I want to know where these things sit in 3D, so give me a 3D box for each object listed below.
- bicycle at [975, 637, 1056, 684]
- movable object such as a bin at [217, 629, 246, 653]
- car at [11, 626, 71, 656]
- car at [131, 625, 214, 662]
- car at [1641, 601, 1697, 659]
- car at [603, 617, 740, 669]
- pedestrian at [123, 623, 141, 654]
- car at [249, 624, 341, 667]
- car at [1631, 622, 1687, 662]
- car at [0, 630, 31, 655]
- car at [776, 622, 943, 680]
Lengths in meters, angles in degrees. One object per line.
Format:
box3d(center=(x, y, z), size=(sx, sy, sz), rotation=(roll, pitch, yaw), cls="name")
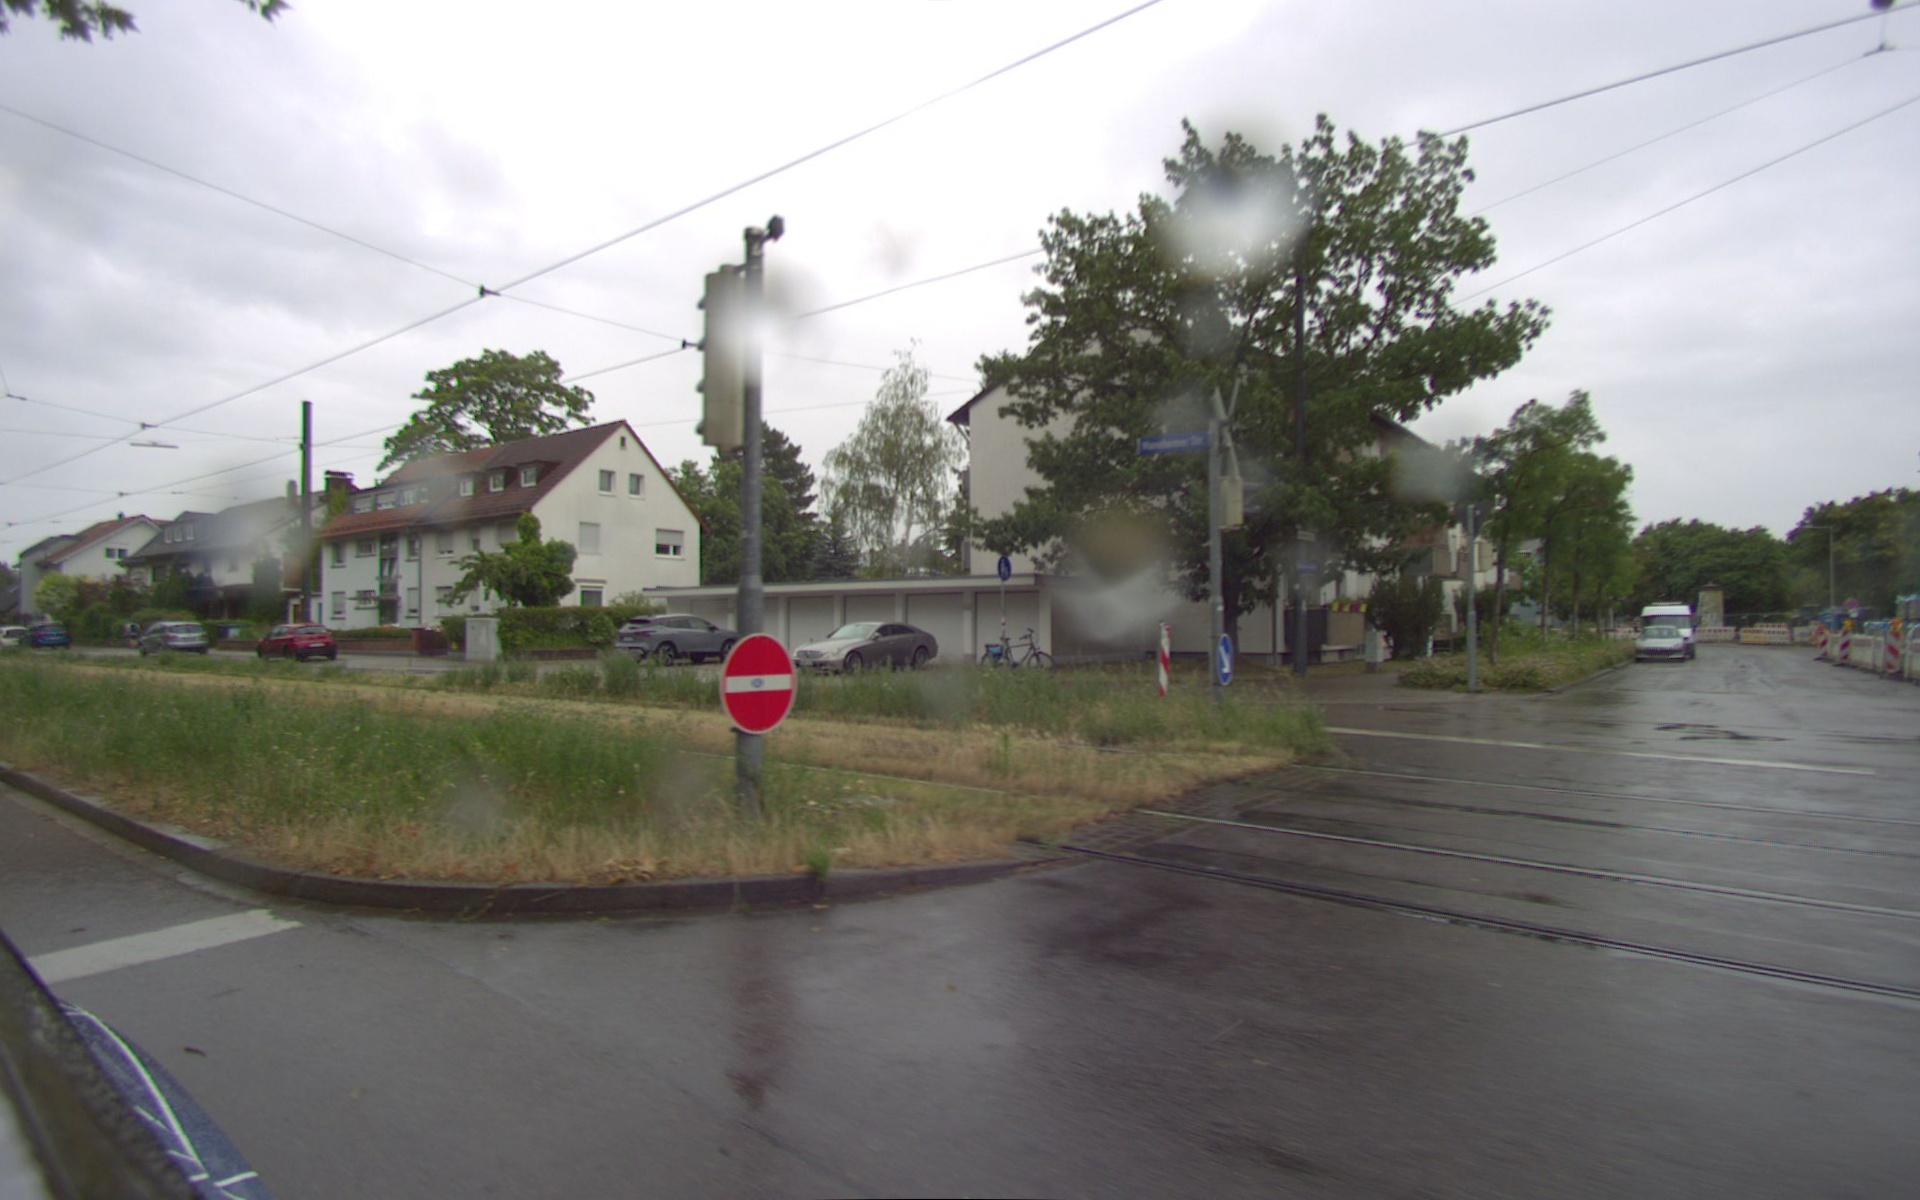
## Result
box3d(center=(1.300, 1.415, 23.665), size=(1.822, 1.027, 0.480), rotation=(-1, 1, 12), cls="bicycle")
box3d(center=(-41.344, 2.315, 57.413), size=(0.738, 1.307, 1.173), rotation=(-2, -1, 37), cls="movable object such as a bin")
box3d(center=(-56.458, 2.486, 62.153), size=(4.172, 1.719, 1.828), rotation=(-1, -1, 35), cls="car")
box3d(center=(-37.431, 2.050, 48.071), size=(4.676, 1.626, 1.975), rotation=(-2, -1, 37), cls="car")
box3d(center=(31.985, 1.355, 45.654), size=(1.914, 2.465, 4.416), rotation=(-2, -3, 36), cls="car")
box3d(center=(-9.241, 1.357, 32.678), size=(1.888, 1.588, 3.952), rotation=(-2, -2, 35), cls="car")
box3d(center=(-48.700, 2.280, 59.517), size=(0.867, 1.781, 0.593), rotation=(-2, -1, 36), cls="pedestrian")
box3d(center=(-26.495, 1.794, 40.288), size=(3.966, 1.558, 1.825), rotation=(-2, 1, 37), cls="car")
box3d(center=(28.132, 1.691, 40.704), size=(1.749, 1.542, 3.585), rotation=(-2, -3, 36), cls="car")
box3d(center=(-62.308, 2.750, 66.087), size=(3.593, 1.540, 1.699), rotation=(-1, 1, 35), cls="car")
box3d(center=(-2.651, 1.326, 27.726), size=(1.846, 1.376, 4.680), rotation=(-2, -1, 38), cls="car")
